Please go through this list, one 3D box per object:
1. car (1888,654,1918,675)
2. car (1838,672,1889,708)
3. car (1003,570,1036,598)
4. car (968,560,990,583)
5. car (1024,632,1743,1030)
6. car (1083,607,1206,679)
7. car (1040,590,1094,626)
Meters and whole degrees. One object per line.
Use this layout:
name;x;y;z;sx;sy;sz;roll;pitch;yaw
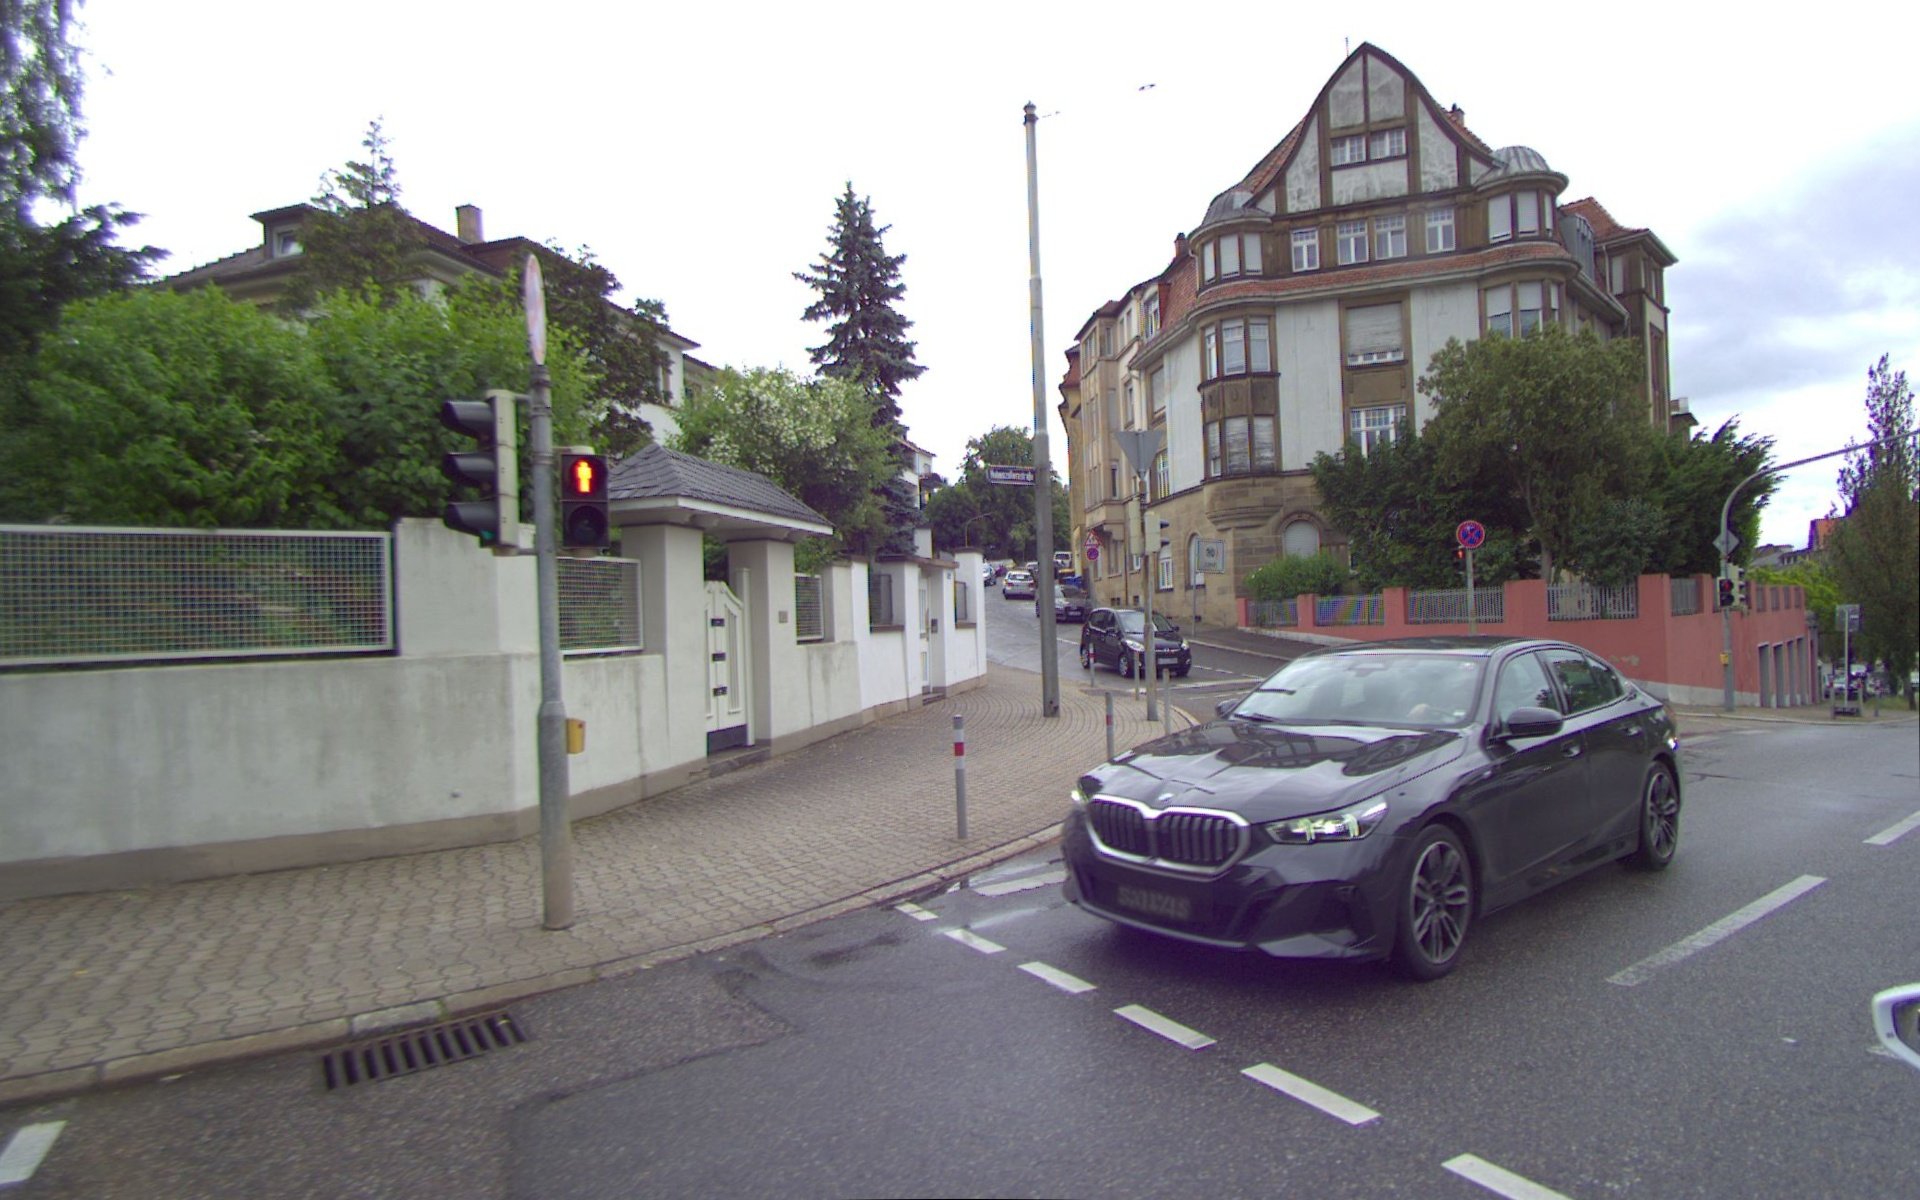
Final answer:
car;90.913;6.231;96.862;1.761;1.879;3.983;-1;-5;39
car;45.094;4.467;50.110;1.795;1.633;3.978;-1;-4;43
car;3.526;-0.977;60.058;1.607;1.473;3.515;1;4;-3
car;1.456;-2.150;75.077;1.477;1.473;3.518;1;4;3
car;2.977;0.979;6.273;5.321;1.505;1.838;1;-3;-39
car;4.316;0.959;23.919;1.643;1.458;3.356;-2;1;-13
car;4.517;0.332;42.813;1.674;1.473;3.516;-1;0;-4
